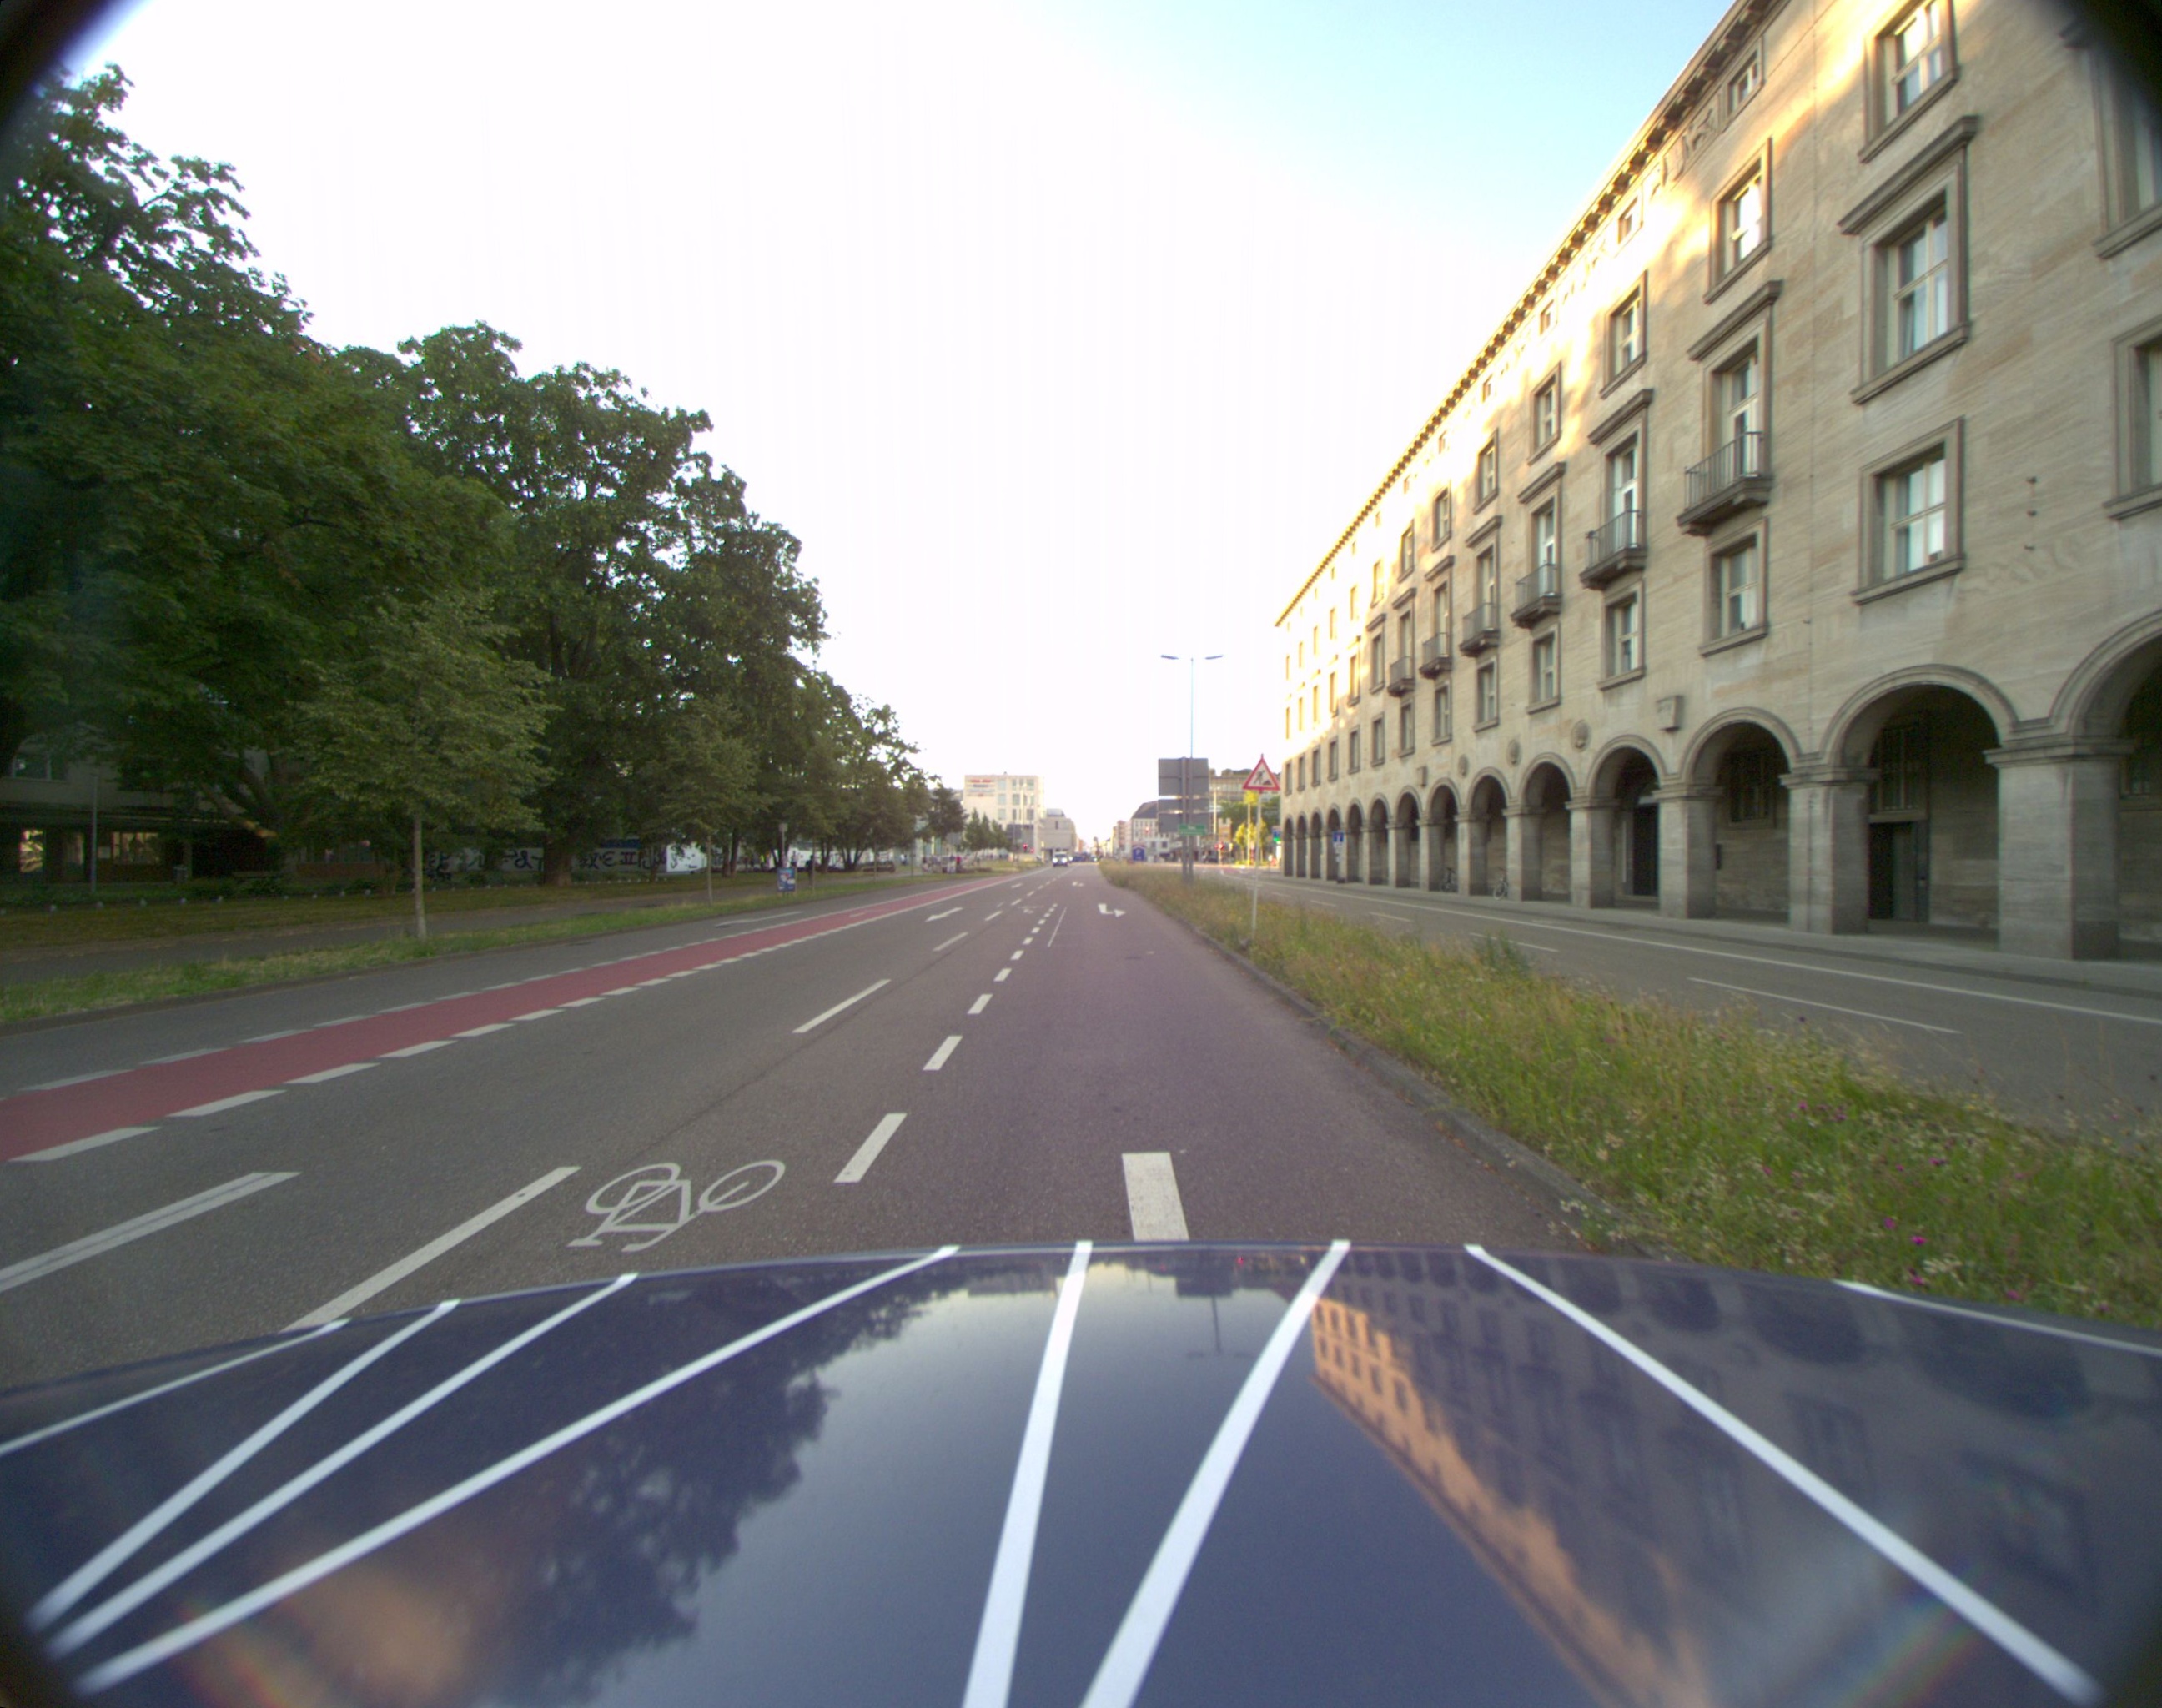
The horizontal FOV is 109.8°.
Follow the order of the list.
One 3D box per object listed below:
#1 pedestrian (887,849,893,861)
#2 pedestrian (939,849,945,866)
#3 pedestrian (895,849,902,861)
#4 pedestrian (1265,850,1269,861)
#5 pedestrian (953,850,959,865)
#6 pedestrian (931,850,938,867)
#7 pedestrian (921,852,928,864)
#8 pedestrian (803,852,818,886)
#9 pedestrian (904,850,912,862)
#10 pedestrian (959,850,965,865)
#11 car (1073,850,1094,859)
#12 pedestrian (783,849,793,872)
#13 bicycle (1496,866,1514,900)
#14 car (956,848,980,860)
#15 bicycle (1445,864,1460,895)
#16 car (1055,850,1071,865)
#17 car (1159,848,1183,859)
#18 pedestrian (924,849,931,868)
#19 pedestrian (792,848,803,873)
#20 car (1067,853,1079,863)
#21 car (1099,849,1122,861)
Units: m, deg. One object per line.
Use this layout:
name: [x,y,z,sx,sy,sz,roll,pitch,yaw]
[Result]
pedestrian: [-21.124,0.131,83.954,0.519,1.347,0.773,0,1,1]
pedestrian: [-13.970,0.322,76.290,0.509,1.720,0.719,0,1,1]
pedestrian: [-20.219,0.084,84.099,0.519,1.347,0.773,0,1,1]
pedestrian: [26.823,0.248,109.598,0.526,1.532,0.390,0,1,1]
pedestrian: [-14.447,0.434,88.036,0.638,1.747,0.506,0,1,1]
pedestrian: [-14.714,0.441,76.391,0.519,1.720,0.719,0,1,1]
pedestrian: [-18.173,0.428,88.188,0.662,1.347,0.559,0,1,1]
pedestrian: [-14.017,0.771,39.419,0.558,1.729,0.555,0,1,1]
pedestrian: [-19.949,0.255,87.556,0.728,1.347,0.614,0,1,1]
pedestrian: [-13.676,0.415,87.346,0.638,1.747,0.506,0,1,1]
car: [0.569,0.189,167.608,4.437,2.002,2.000,0,0,3]
pedestrian: [-19.831,0.427,51.449,0.500,1.592,0.365,0,1,1]
bicycle: [15.445,1.034,27.672,0.513,1.115,2.427,0,1,30]
car: [-19.435,-0.022,130.755,3.999,2.002,1.999,0,0,-5]
bicycle: [15.116,1.009,30.938,0.513,1.172,2.427,0,0,25]
car: [-2.343,0.475,99.197,1.767,1.877,4.500,0,0,2]
car: [16.426,-0.155,138.613,3.999,2.002,1.999,0,0,-7]
pedestrian: [-14.612,0.424,72.355,0.509,1.720,0.719,0,1,1]
pedestrian: [-18.619,0.427,49.951,0.500,1.592,0.522,0,1,1]
car: [-1.241,0.593,123.653,1.826,1.612,4.336,0,0,0]
car: [5.306,0.182,138.547,3.999,2.002,1.999,0,0,-5]
